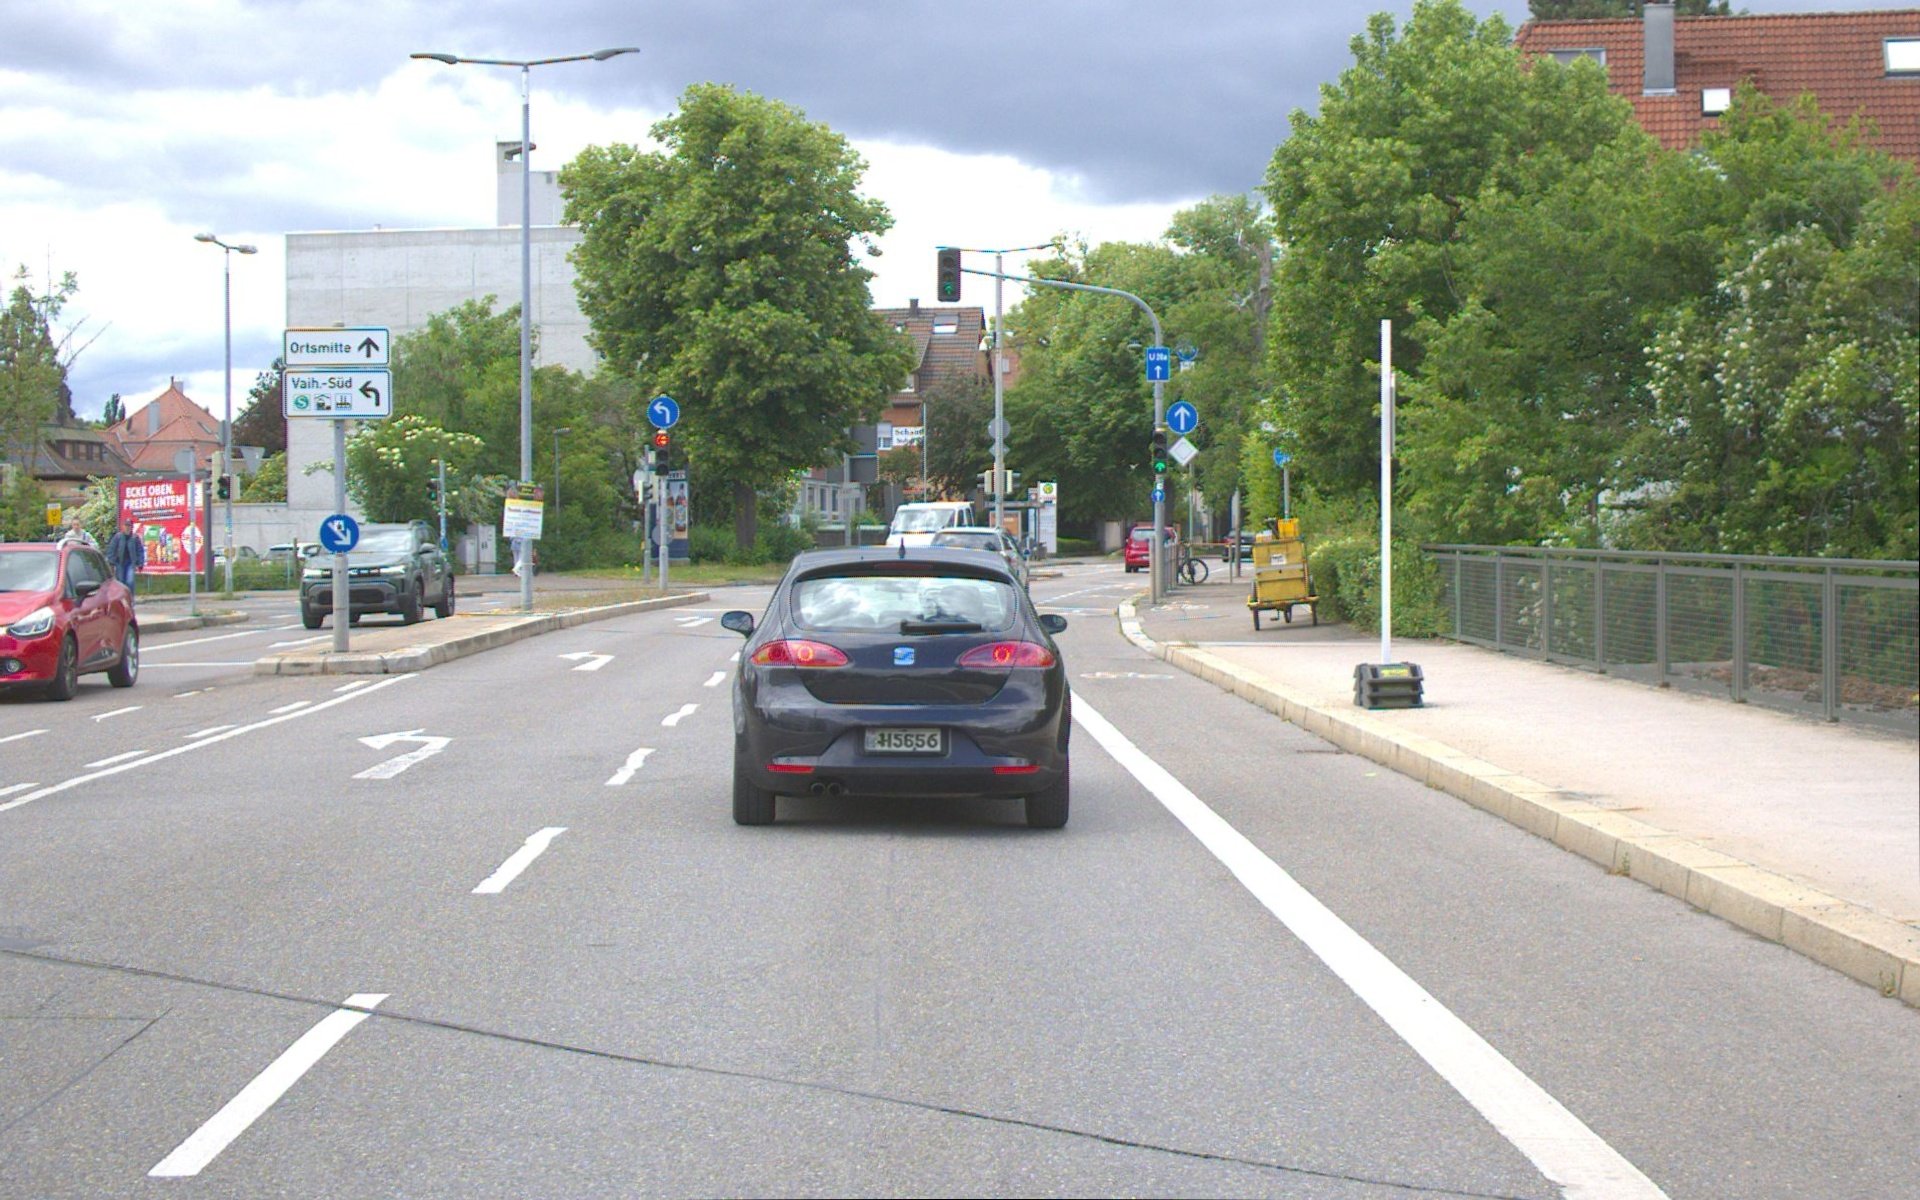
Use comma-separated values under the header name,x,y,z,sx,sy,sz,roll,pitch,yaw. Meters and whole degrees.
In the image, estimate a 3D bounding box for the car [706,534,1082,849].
name,x,y,z,sx,sy,sz,roll,pitch,yaw
car,-0.258,0.409,18.639,1.759,1.443,3.714,2,2,3

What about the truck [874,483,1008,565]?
name,x,y,z,sx,sy,sz,roll,pitch,yaw
truck,-0.481,-2.193,98.904,2.127,2.257,6.801,-1,1,15

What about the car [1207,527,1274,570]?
name,x,y,z,sx,sy,sz,roll,pitch,yaw
car,11.481,-2.115,140.600,1.995,1.678,3.997,0,1,15

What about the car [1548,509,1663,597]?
name,x,y,z,sx,sy,sz,roll,pitch,yaw
car,11.113,-0.828,59.356,1.668,1.444,3.999,-1,1,7

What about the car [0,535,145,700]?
name,x,y,z,sx,sy,sz,roll,pitch,yaw
car,-8.931,0.118,32.392,1.720,1.443,4.067,0,1,-3

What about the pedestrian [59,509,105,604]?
name,x,y,z,sx,sy,sz,roll,pitch,yaw
pedestrian,-15.271,-0.761,59.804,0.656,1.628,0.833,1,1,-7

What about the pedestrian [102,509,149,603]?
name,x,y,z,sx,sy,sz,roll,pitch,yaw
pedestrian,-14.579,-0.773,60.052,0.656,1.628,1.071,1,1,-7

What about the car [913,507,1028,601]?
name,x,y,z,sx,sy,sz,roll,pitch,yaw
car,0.240,-0.901,65.168,1.819,1.693,4.252,-1,2,5

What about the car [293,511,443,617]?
name,x,y,z,sx,sy,sz,roll,pitch,yaw
car,-9.365,-0.594,54.666,1.822,1.621,4.279,0,1,-3

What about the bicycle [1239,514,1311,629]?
name,x,y,z,sx,sy,sz,roll,pitch,yaw
bicycle,4.357,-0.416,47.742,0.891,1.505,2.783,-2,1,5

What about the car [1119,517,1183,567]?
name,x,y,z,sx,sy,sz,roll,pitch,yaw
car,6.001,-1.835,108.192,1.941,1.476,4.253,-1,2,3

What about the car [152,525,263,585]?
name,x,y,z,sx,sy,sz,roll,pitch,yaw
car,-26.498,-1.588,121.120,1.995,2.007,3.996,3,1,18

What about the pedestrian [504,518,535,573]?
name,x,y,z,sx,sy,sz,roll,pitch,yaw
pedestrian,-12.304,-1.532,96.080,0.655,1.517,0.923,0,1,7

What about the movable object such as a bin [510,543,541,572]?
name,x,y,z,sx,sy,sz,roll,pitch,yaw
movable object such as a bin,-12.224,-1.192,96.772,0.655,0.795,0.897,0,1,7
